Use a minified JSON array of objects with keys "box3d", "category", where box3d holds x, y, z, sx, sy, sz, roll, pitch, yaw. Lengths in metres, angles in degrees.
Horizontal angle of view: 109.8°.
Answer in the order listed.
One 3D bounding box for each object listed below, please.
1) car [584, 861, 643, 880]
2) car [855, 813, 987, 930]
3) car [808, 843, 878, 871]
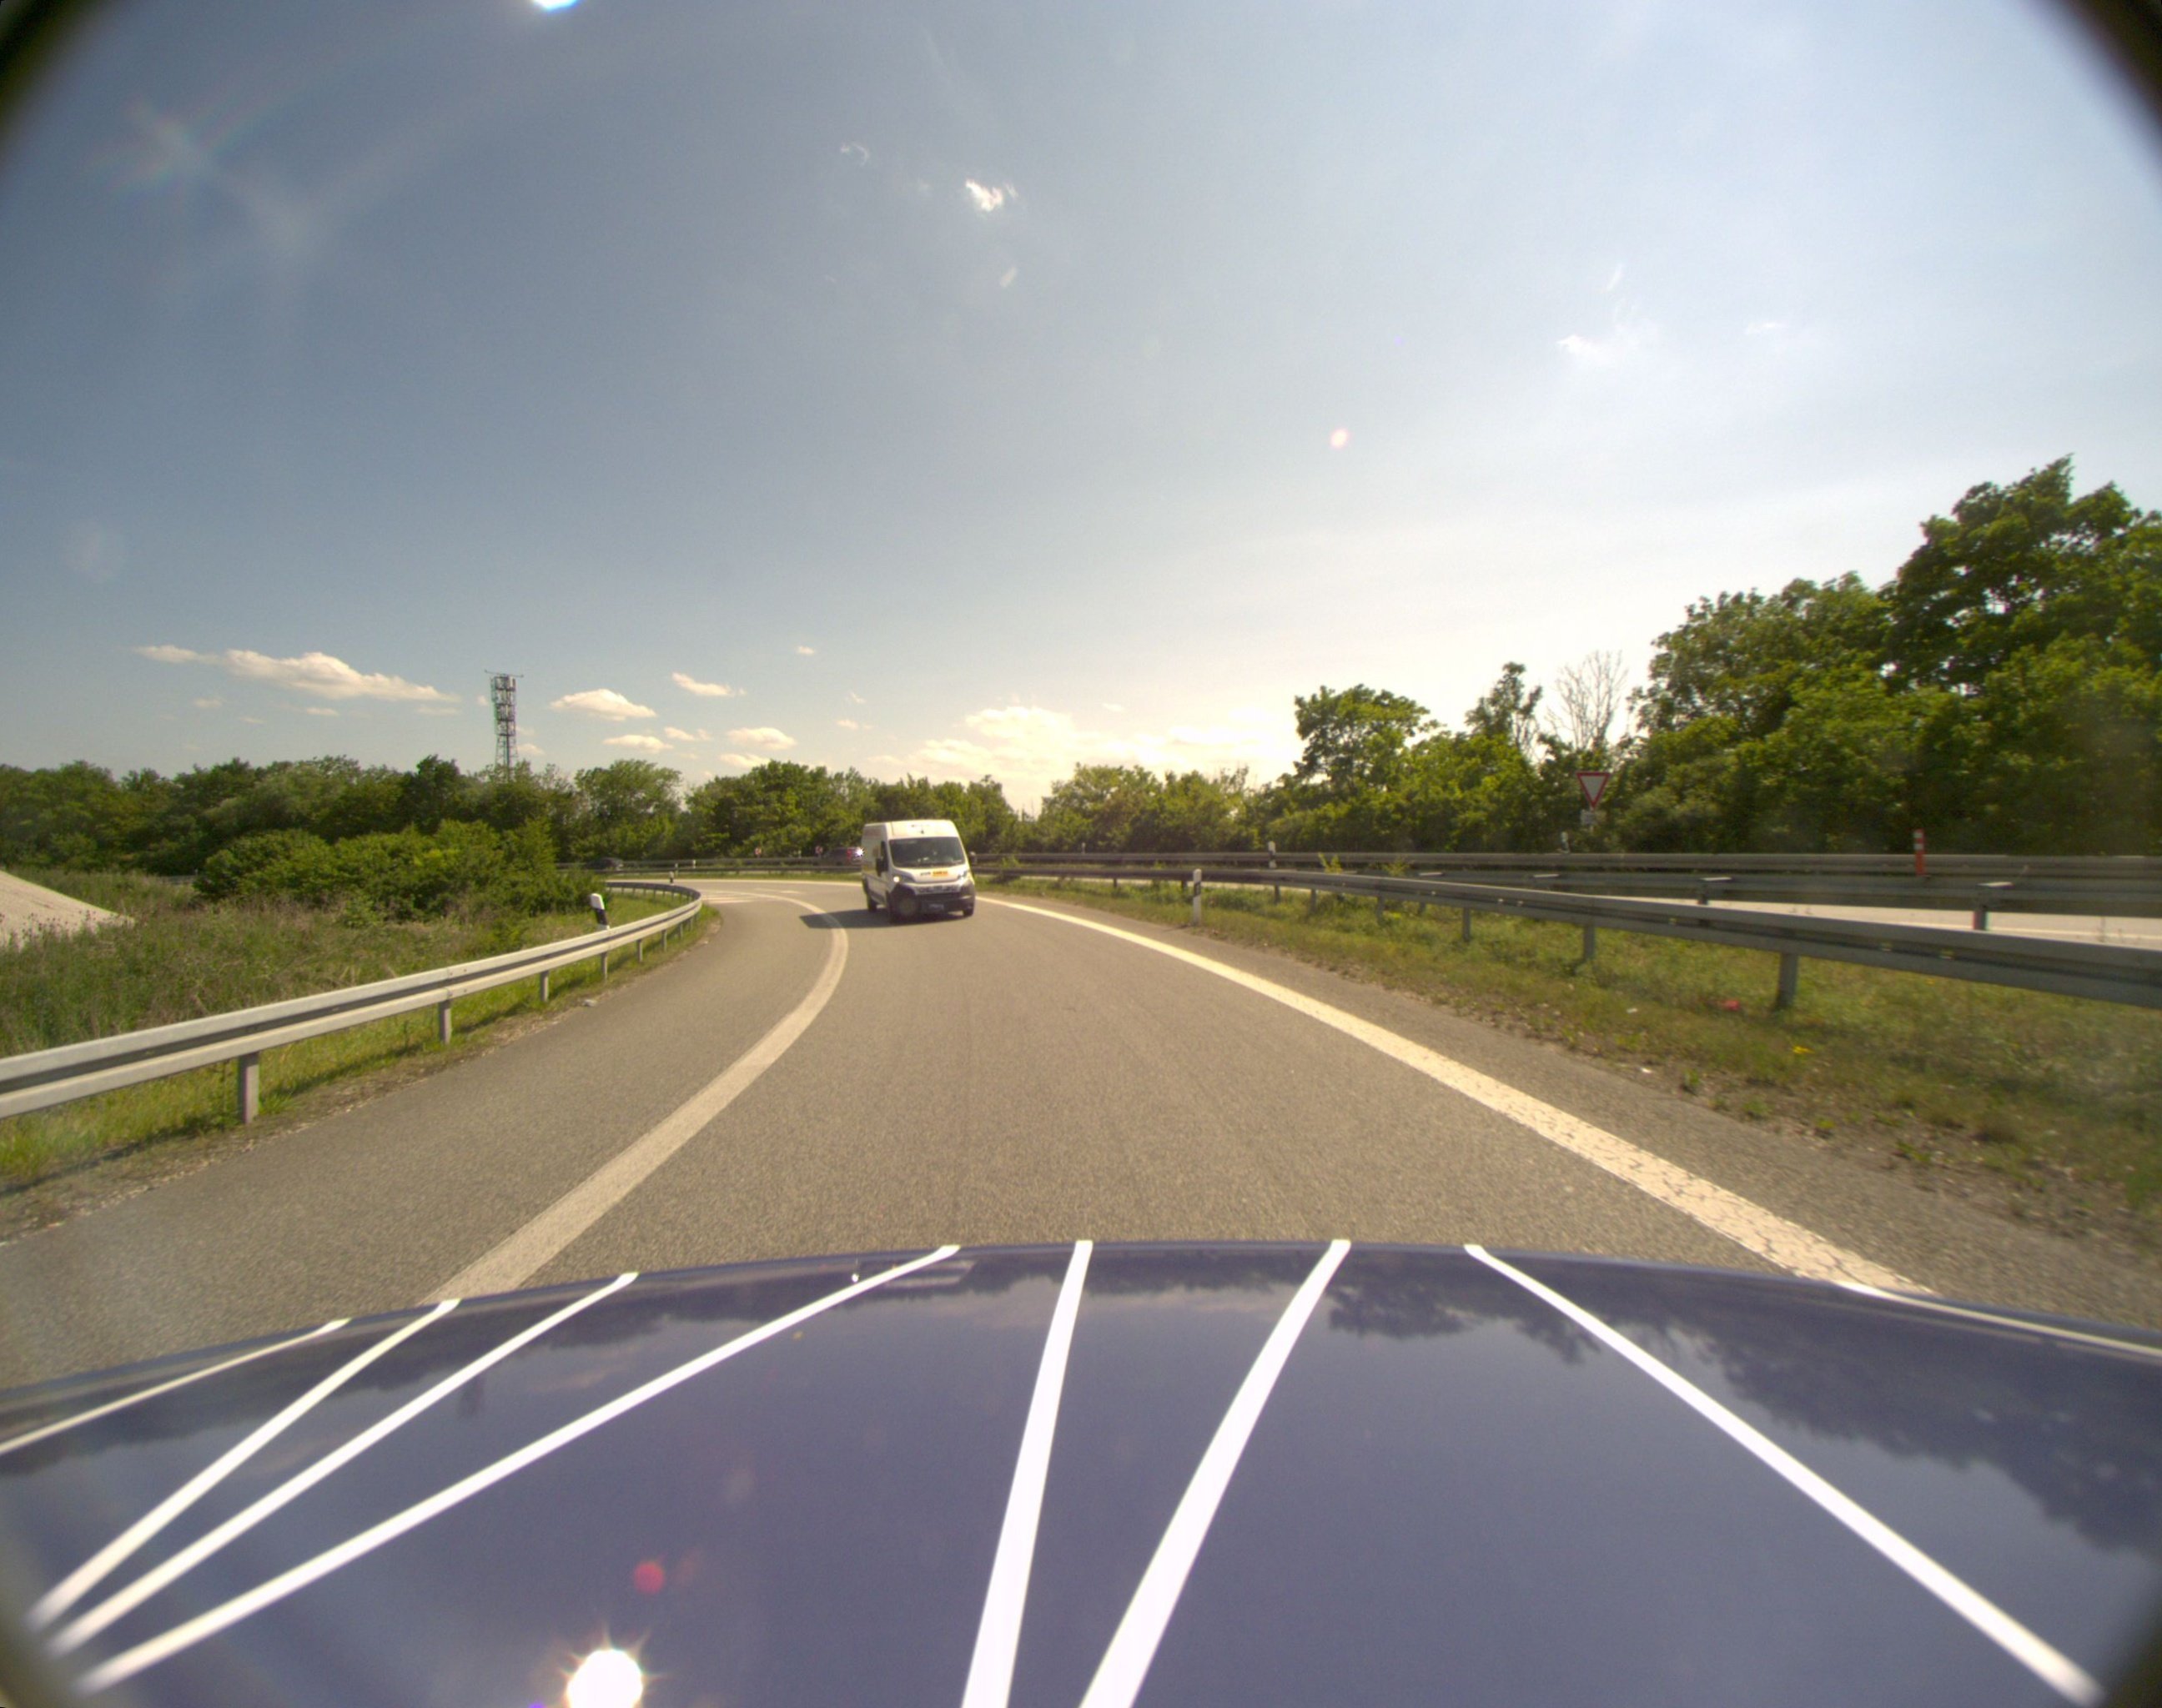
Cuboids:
[{"box3d":[-41.353,1.439,67.218,4.693,1.440,1.801,-2,3,19],"category":"car"},{"box3d":[-4.490,0.395,20.323,2.091,2.509,6.225,-5,2,-23],"category":"car"},{"box3d":[-16.523,0.250,52.625,5.183,1.721,2.003,-1,2,39],"category":"car"}]
